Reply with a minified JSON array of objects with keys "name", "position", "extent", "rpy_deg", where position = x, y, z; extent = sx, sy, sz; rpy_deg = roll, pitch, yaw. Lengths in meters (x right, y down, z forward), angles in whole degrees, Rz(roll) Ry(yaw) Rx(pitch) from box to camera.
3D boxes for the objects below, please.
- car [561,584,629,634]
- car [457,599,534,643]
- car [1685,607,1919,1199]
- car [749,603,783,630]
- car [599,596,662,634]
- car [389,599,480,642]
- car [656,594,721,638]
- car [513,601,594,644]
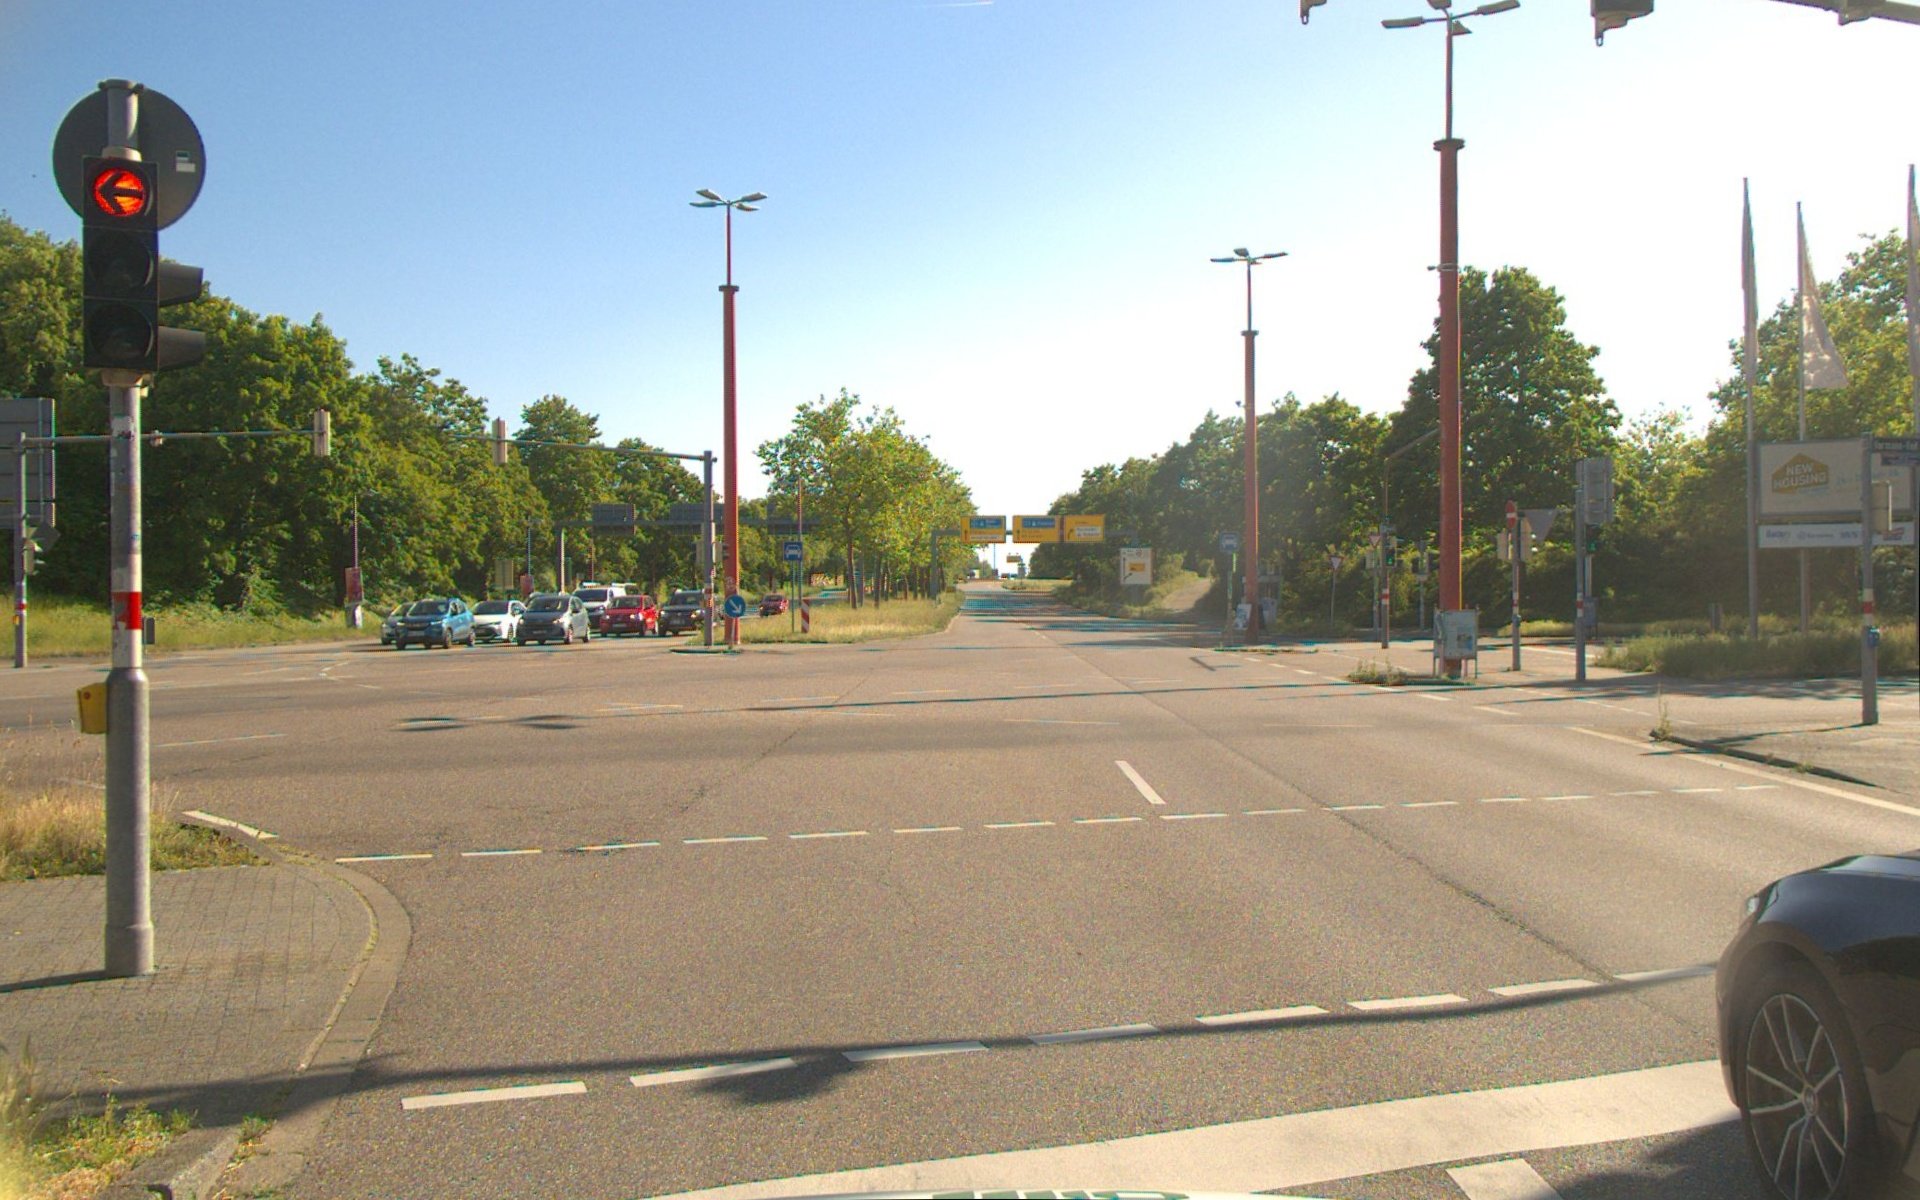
[{"name":"car","position":[-15.518,0.359,70.553],"extent":[1.855,2.061,5.221],"rpy_deg":[0,0,-2]},{"name":"car","position":[-15.925,0.700,56.800],"extent":[1.704,1.436,3.611],"rpy_deg":[0,0,-2]},{"name":"car","position":[2.910,0.735,2.345],"extent":[1.831,1.422,4.443],"rpy_deg":[0,0,0]},{"name":"car","position":[-12.438,1.057,106.323],"extent":[1.782,1.657,3.999],"rpy_deg":[0,0,-1]},{"name":"car","position":[-12.222,0.540,61.546],"extent":[1.704,1.386,3.611],"rpy_deg":[0,0,-2]},{"name":"car","position":[-16.049,0.610,50.683],"extent":[1.704,1.265,3.611],"rpy_deg":[0,0,-2]},{"name":"car","position":[-9.824,0.567,60.095],"extent":[1.782,1.534,3.999],"rpy_deg":[0,0,-1]},{"name":"car","position":[-12.668,0.668,51.704],"extent":[1.704,1.265,3.611],"rpy_deg":[0,0,-2]}]
